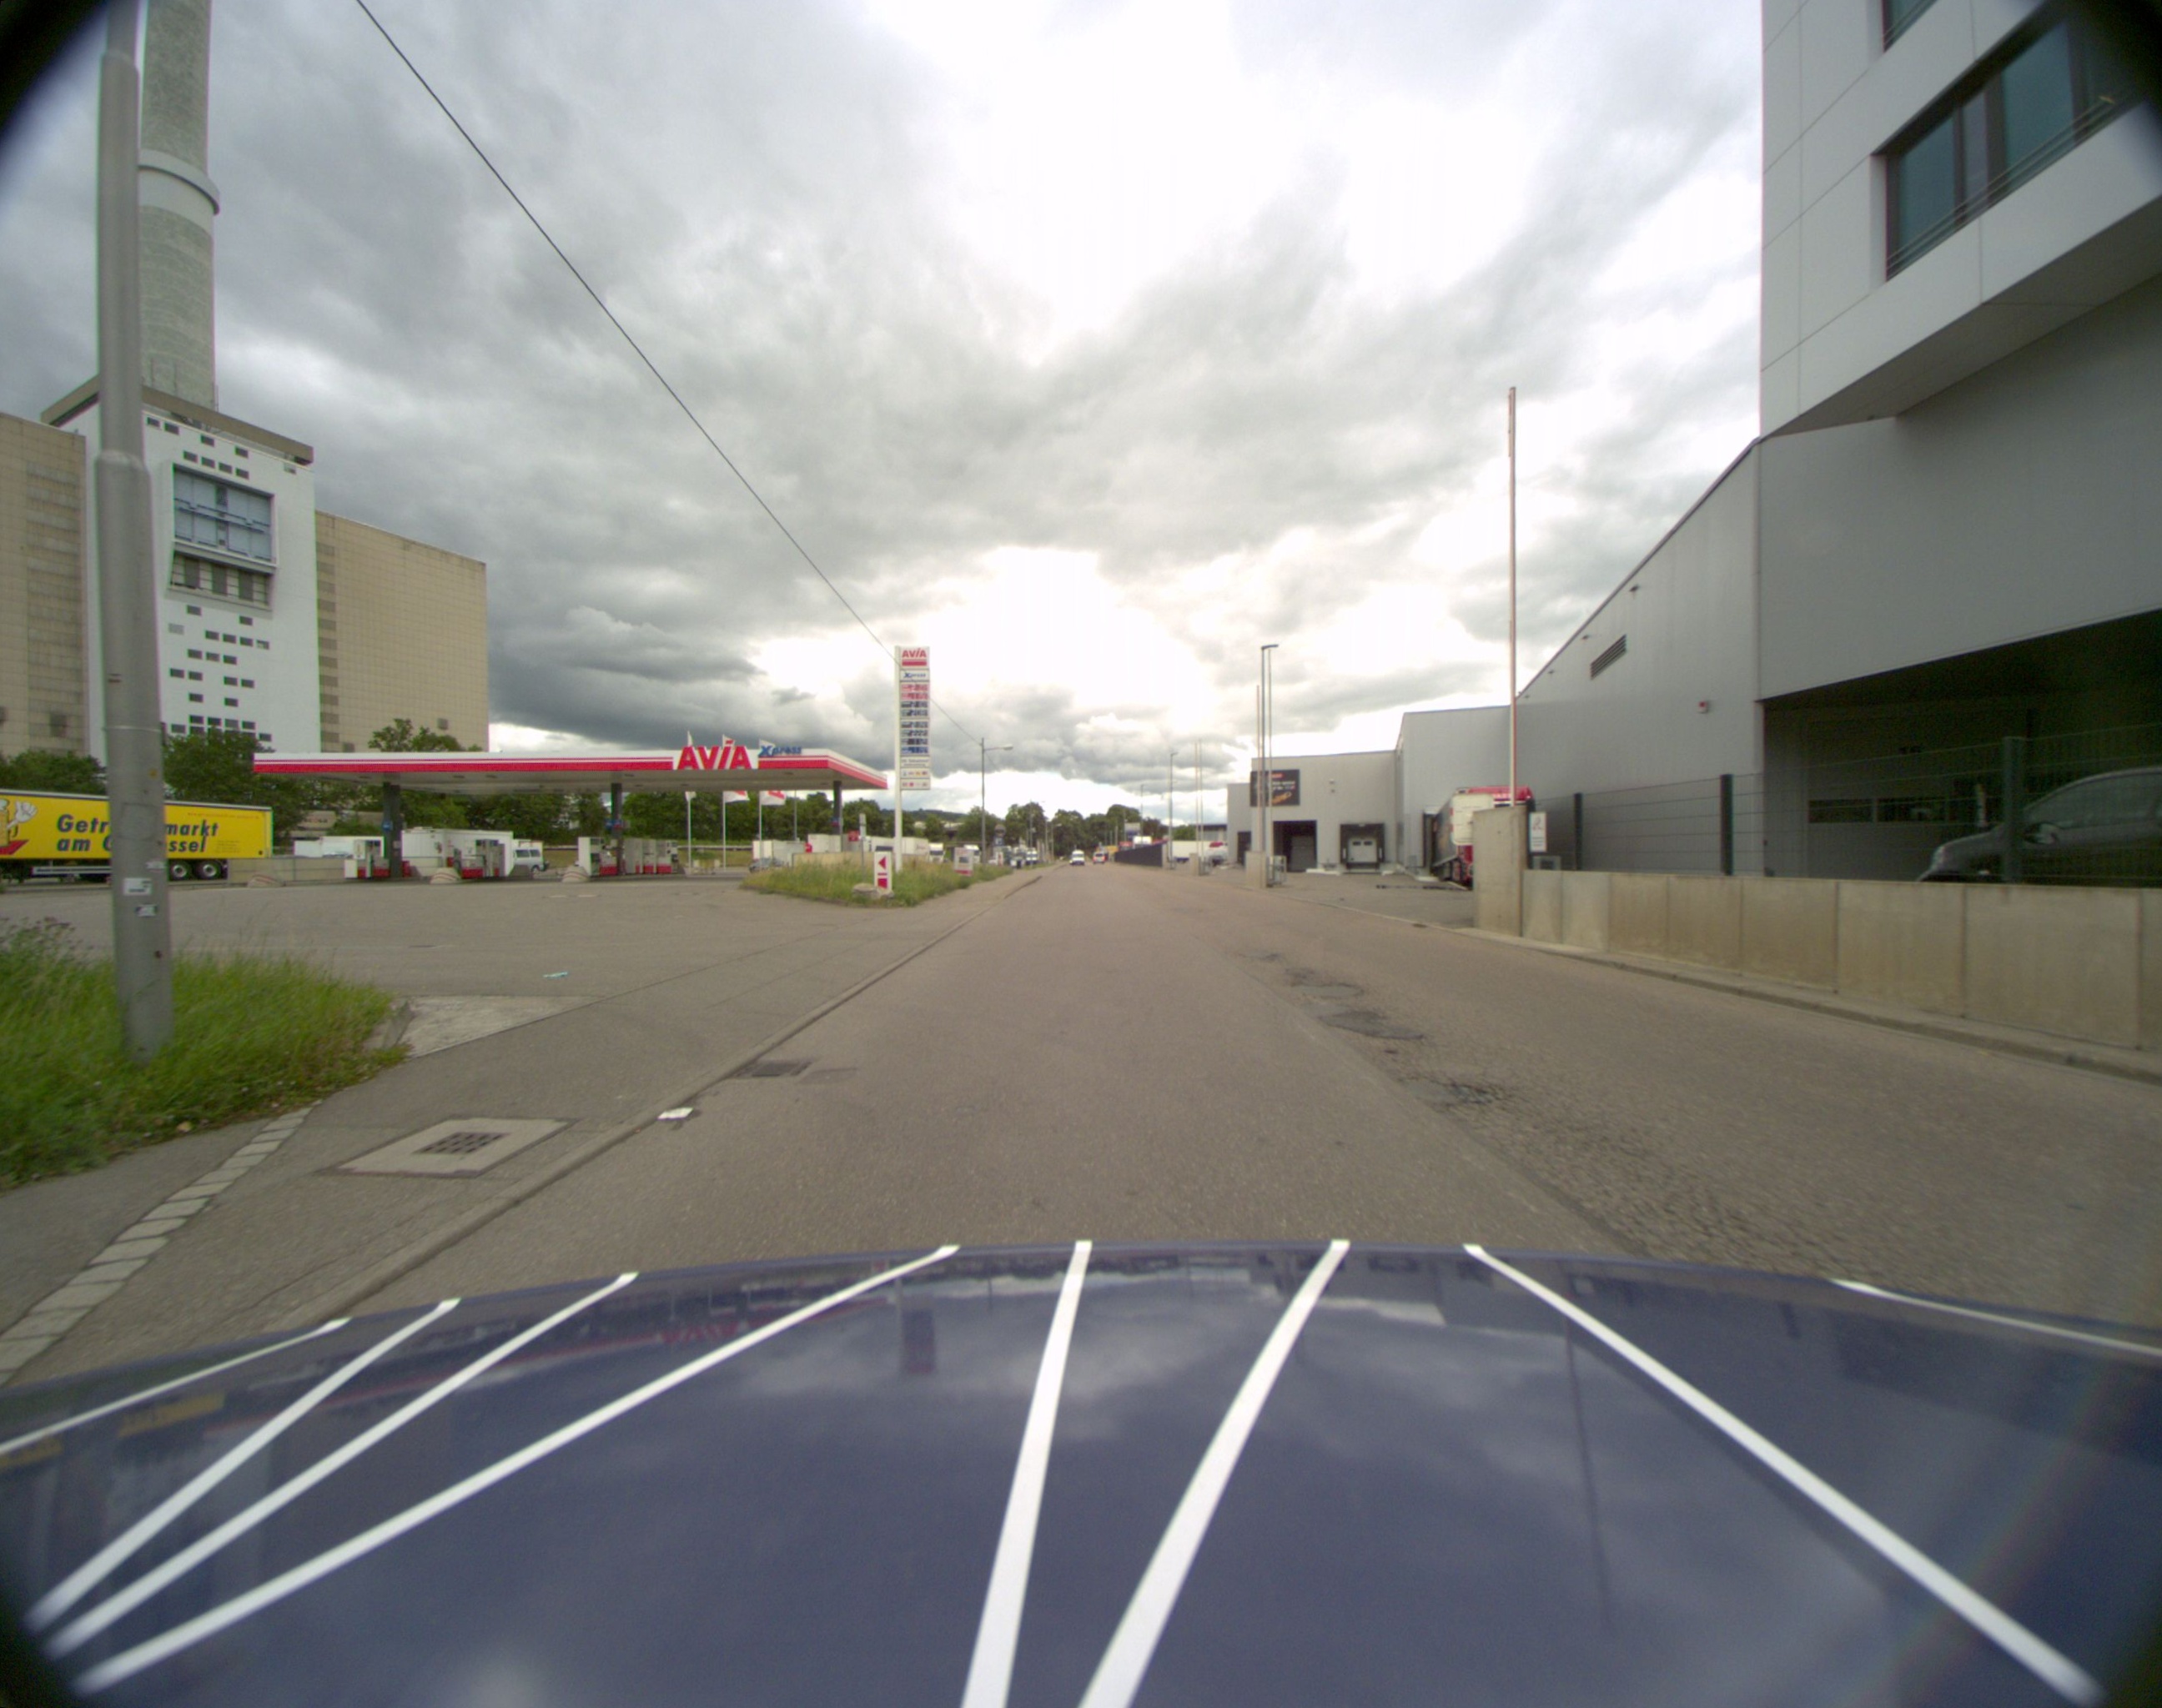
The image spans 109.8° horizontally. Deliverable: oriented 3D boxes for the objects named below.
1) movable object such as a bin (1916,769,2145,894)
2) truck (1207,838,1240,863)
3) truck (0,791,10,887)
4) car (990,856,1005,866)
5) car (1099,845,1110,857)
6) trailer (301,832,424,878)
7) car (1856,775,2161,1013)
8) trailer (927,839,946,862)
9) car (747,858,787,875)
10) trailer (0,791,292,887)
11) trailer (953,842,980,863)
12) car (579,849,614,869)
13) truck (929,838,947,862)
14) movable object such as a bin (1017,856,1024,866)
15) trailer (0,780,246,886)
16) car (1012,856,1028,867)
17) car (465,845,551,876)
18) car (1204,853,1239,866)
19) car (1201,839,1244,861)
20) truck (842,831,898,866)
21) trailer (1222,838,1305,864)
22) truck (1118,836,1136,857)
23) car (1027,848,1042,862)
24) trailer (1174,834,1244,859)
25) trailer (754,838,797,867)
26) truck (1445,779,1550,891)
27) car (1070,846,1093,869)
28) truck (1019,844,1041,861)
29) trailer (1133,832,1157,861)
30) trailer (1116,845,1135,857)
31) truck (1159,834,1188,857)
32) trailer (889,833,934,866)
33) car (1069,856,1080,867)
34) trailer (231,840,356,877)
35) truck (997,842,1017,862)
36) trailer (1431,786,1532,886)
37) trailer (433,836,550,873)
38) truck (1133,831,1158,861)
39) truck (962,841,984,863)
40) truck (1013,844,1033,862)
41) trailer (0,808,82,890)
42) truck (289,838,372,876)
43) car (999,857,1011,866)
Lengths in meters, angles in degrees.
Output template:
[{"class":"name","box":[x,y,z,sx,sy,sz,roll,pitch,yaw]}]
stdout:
[{"class":"movable object such as a bin","box":[18.075,-0.400,14.615,2.149,2.210,1.755,0,1,23]},{"class":"truck","box":[24.544,-0.654,130.887,4.870,4.180,3.053,1,0,22]},{"class":"truck","box":[-45.512,-0.612,28.184,2.964,3.892,6.040,0,0,-1]},{"class":"car","box":[-12.822,1.060,116.752,1.769,1.562,4.000,-3,0,0]},{"class":"car","box":[4.784,-0.607,152.151,1.998,2.402,5.257,-2,0,3]},{"class":"trailer","box":[-76.085,0.182,80.270,18.242,4.475,3.565,-1,1,28]},{"class":"car","box":[8.783,0.261,6.213,1.654,1.751,3.179,-2,0,2]},{"class":"trailer","box":[-27.122,-0.647,142.237,2.841,4.071,13.380,0,0,-14]},{"class":"car","box":[-27.731,1.068,67.272,1.769,1.382,4.215,1,0,-1]},{"class":"trailer","box":[-45.635,-0.626,35.406,3.007,3.892,14.300,0,0,-1]},{"class":"trailer","box":[-23.354,-0.301,154.028,2.843,4.071,13.373,0,0,-20]},{"class":"car","box":[-67.780,0.677,106.340,5.073,2.820,2.112,0,0,31]},{"class":"truck","box":[-25.683,-0.674,136.278,2.876,4.071,6.748,0,0,-14]},{"class":"movable object such as a bin","box":[-6.477,0.746,81.776,0.716,1.075,0.662,-1,0,-6]},{"class":"trailer","box":[-49.564,-0.943,36.617,3.007,4.695,14.300,0,0,-1]},{"class":"car","box":[-7.914,0.948,99.002,1.778,1.455,4.560,-1,0,0]},{"class":"car","box":[-37.780,0.412,50.271,1.988,1.901,4.951,0,0,0]},{"class":"car","box":[18.364,0.680,99.411,4.072,1.567,1.947,-2,-1,21]},{"class":"car","box":[19.376,-0.532,104.281,5.423,2.714,2.244,-2,0,19]},{"class":"truck","box":[-25.691,-0.668,93.349,3.082,3.944,13.068,1,0,0]},{"class":"trailer","box":[30.733,-0.531,128.347,13.158,4.188,3.053,1,0,22]},{"class":"truck","box":[8.709,-1.371,144.082,3.021,3.827,5.670,1,0,0]},{"class":"car","box":[-7.924,0.157,130.311,2.091,2.401,6.084,-1,0,2]},{"class":"trailer","box":[23.078,-1.345,136.768,12.020,4.108,3.053,1,0,19]},{"class":"trailer","box":[-43.681,-0.174,109.127,3.644,3.887,13.722,0,0,-14]},{"class":"truck","box":[16.822,-0.677,31.130,2.745,4.007,7.103,-1,0,21]},{"class":"car","box":[0.082,0.593,128.261,3.339,3.586,8.667,0,0,-3]},{"class":"truck","box":[-11.993,-0.346,178.049,2.832,3.689,9.090,-1,0,-18]},{"class":"trailer","box":[9.549,-1.096,114.968,3.366,4.136,13.852,1,0,4]},{"class":"trailer","box":[8.716,-0.553,149.609,3.046,2.179,12.048,1,0,0]},{"class":"truck","box":[16.729,-1.478,138.142,4.878,4.108,3.048,1,0,1]},{"class":"trailer","box":[-21.635,-0.568,97.621,2.964,3.944,10.407,1,0,3]},{"class":"car","box":[-1.219,1.389,141.686,1.713,2.002,3.888,0,0,-5]},{"class":"trailer","box":[-81.735,0.500,78.660,18.452,3.525,3.649,-1,0,27]},{"class":"truck","box":[-15.260,-0.429,156.467,2.876,3.990,6.748,0,0,-15]},{"class":"trailer","box":[18.984,-0.705,36.817,2.745,4.007,12.636,-1,0,21]},{"class":"trailer","box":[-70.758,0.195,90.996,18.452,4.148,3.649,-1,0,28]},{"class":"truck","box":[9.084,-1.085,107.983,3.366,4.136,5.628,1,0,4]},{"class":"truck","box":[-20.900,-0.307,147.219,2.877,4.071,6.745,0,0,-20]},{"class":"truck","box":[-12.302,-0.198,160.664,2.876,3.609,6.748,0,0,-15]},{"class":"trailer","box":[-57.791,-0.254,34.988,3.028,4.235,15.723,0,0,-1]},{"class":"truck","box":[-73.618,0.298,74.499,7.237,3.536,3.718,-1,0,28]},{"class":"car","box":[-13.098,1.197,130.550,1.497,1.486,4.053,-1,0,2]}]
